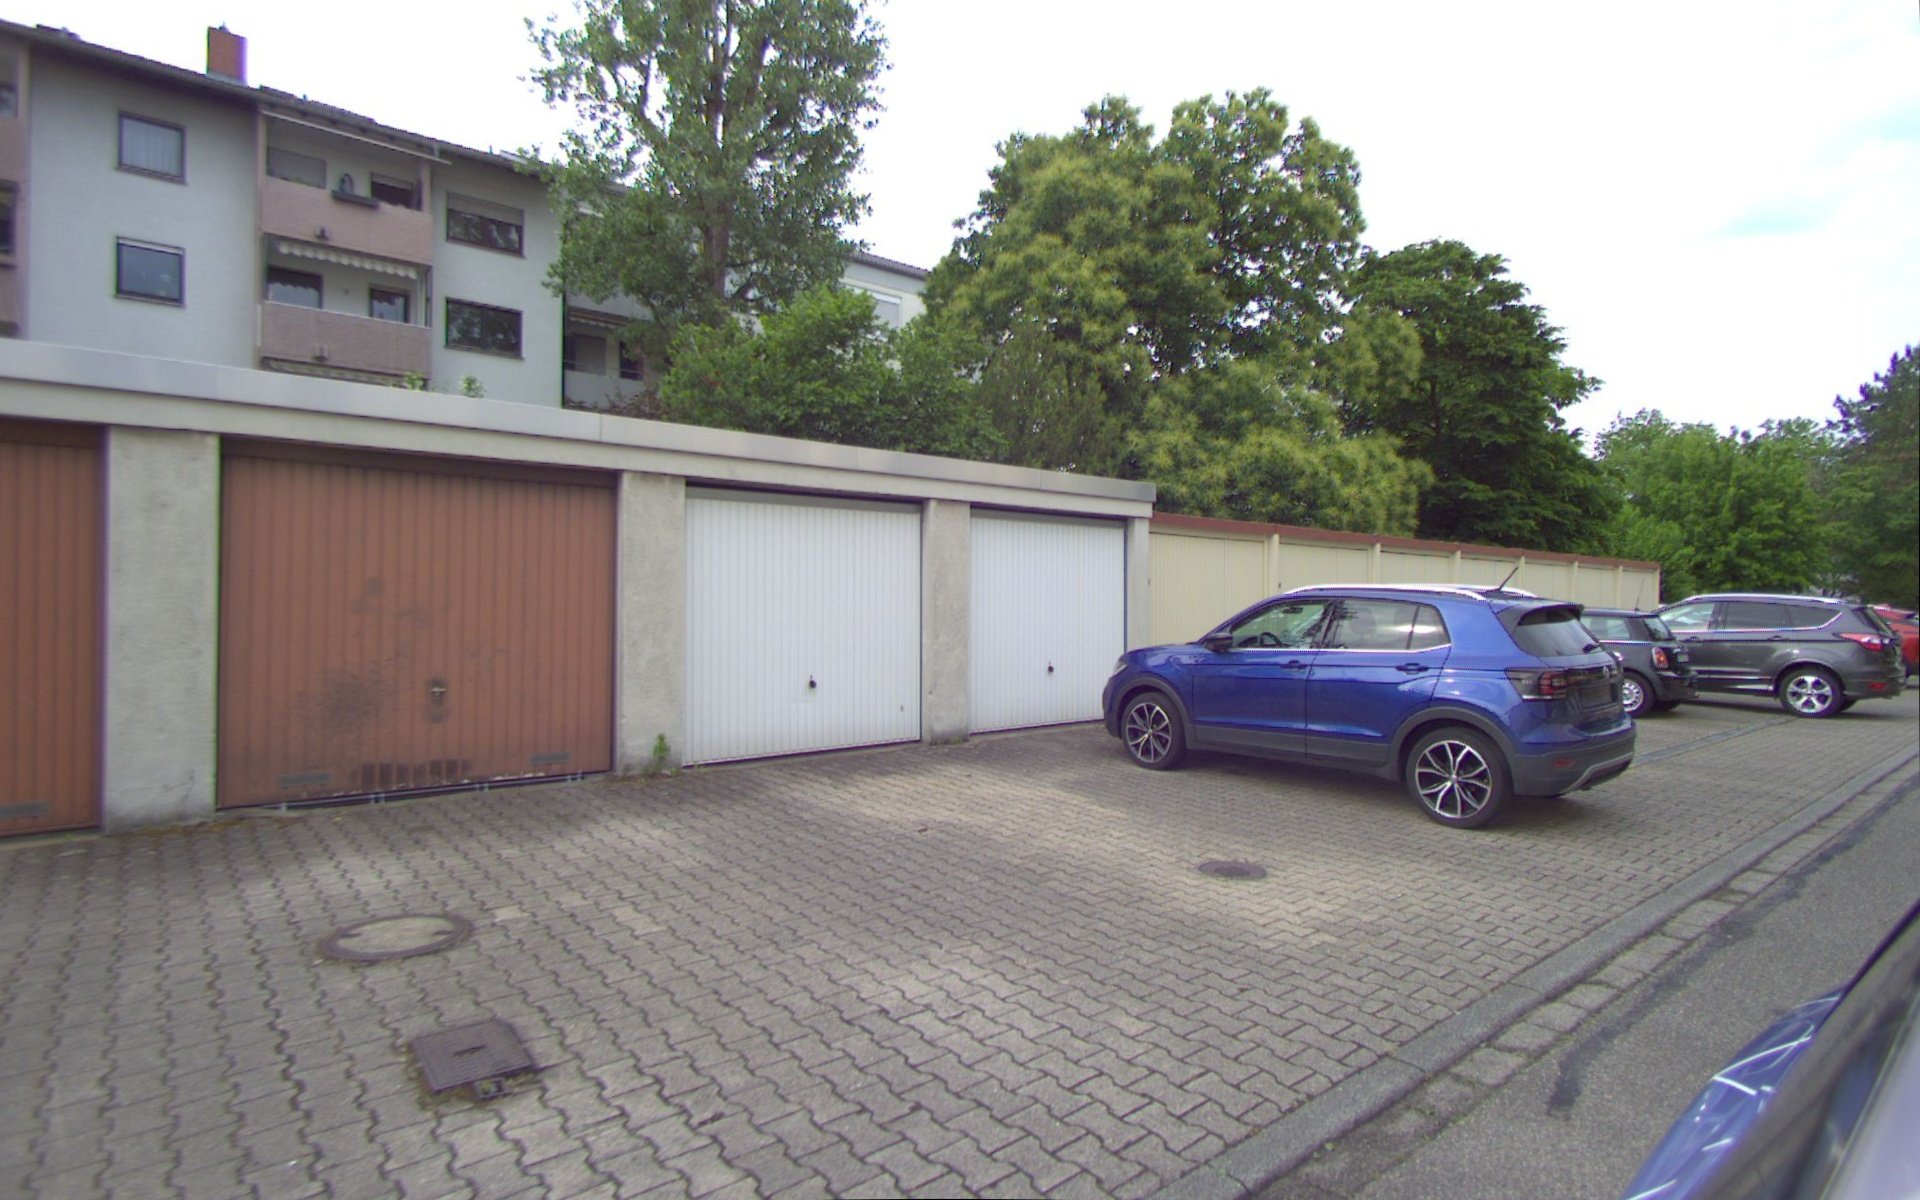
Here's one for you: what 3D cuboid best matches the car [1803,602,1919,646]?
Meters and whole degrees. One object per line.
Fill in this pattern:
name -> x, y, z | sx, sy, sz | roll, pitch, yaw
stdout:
car -> 36.587, 0.943, 40.303 | 1.755, 1.503, 4.335 | 1, 2, -39

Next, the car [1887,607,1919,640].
car -> 45.224, 1.089, 46.209 | 1.756, 1.504, 4.100 | 1, 0, -41

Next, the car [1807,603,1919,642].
car -> 41.888, 1.027, 46.648 | 1.755, 1.503, 4.104 | 1, 2, -39

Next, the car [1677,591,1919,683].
car -> 17.816, 0.705, 21.126 | 1.901, 1.605, 4.297 | 1, 2, -41

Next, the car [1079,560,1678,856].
car -> 3.121, 0.595, 8.192 | 1.965, 1.724, 3.996 | 1, 2, -40

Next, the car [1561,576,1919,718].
car -> 11.875, 0.585, 15.457 | 1.965, 1.749, 4.204 | 1, 2, -40

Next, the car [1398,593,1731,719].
car -> 8.756, 0.706, 14.883 | 1.965, 1.464, 3.765 | 1, 2, -40
